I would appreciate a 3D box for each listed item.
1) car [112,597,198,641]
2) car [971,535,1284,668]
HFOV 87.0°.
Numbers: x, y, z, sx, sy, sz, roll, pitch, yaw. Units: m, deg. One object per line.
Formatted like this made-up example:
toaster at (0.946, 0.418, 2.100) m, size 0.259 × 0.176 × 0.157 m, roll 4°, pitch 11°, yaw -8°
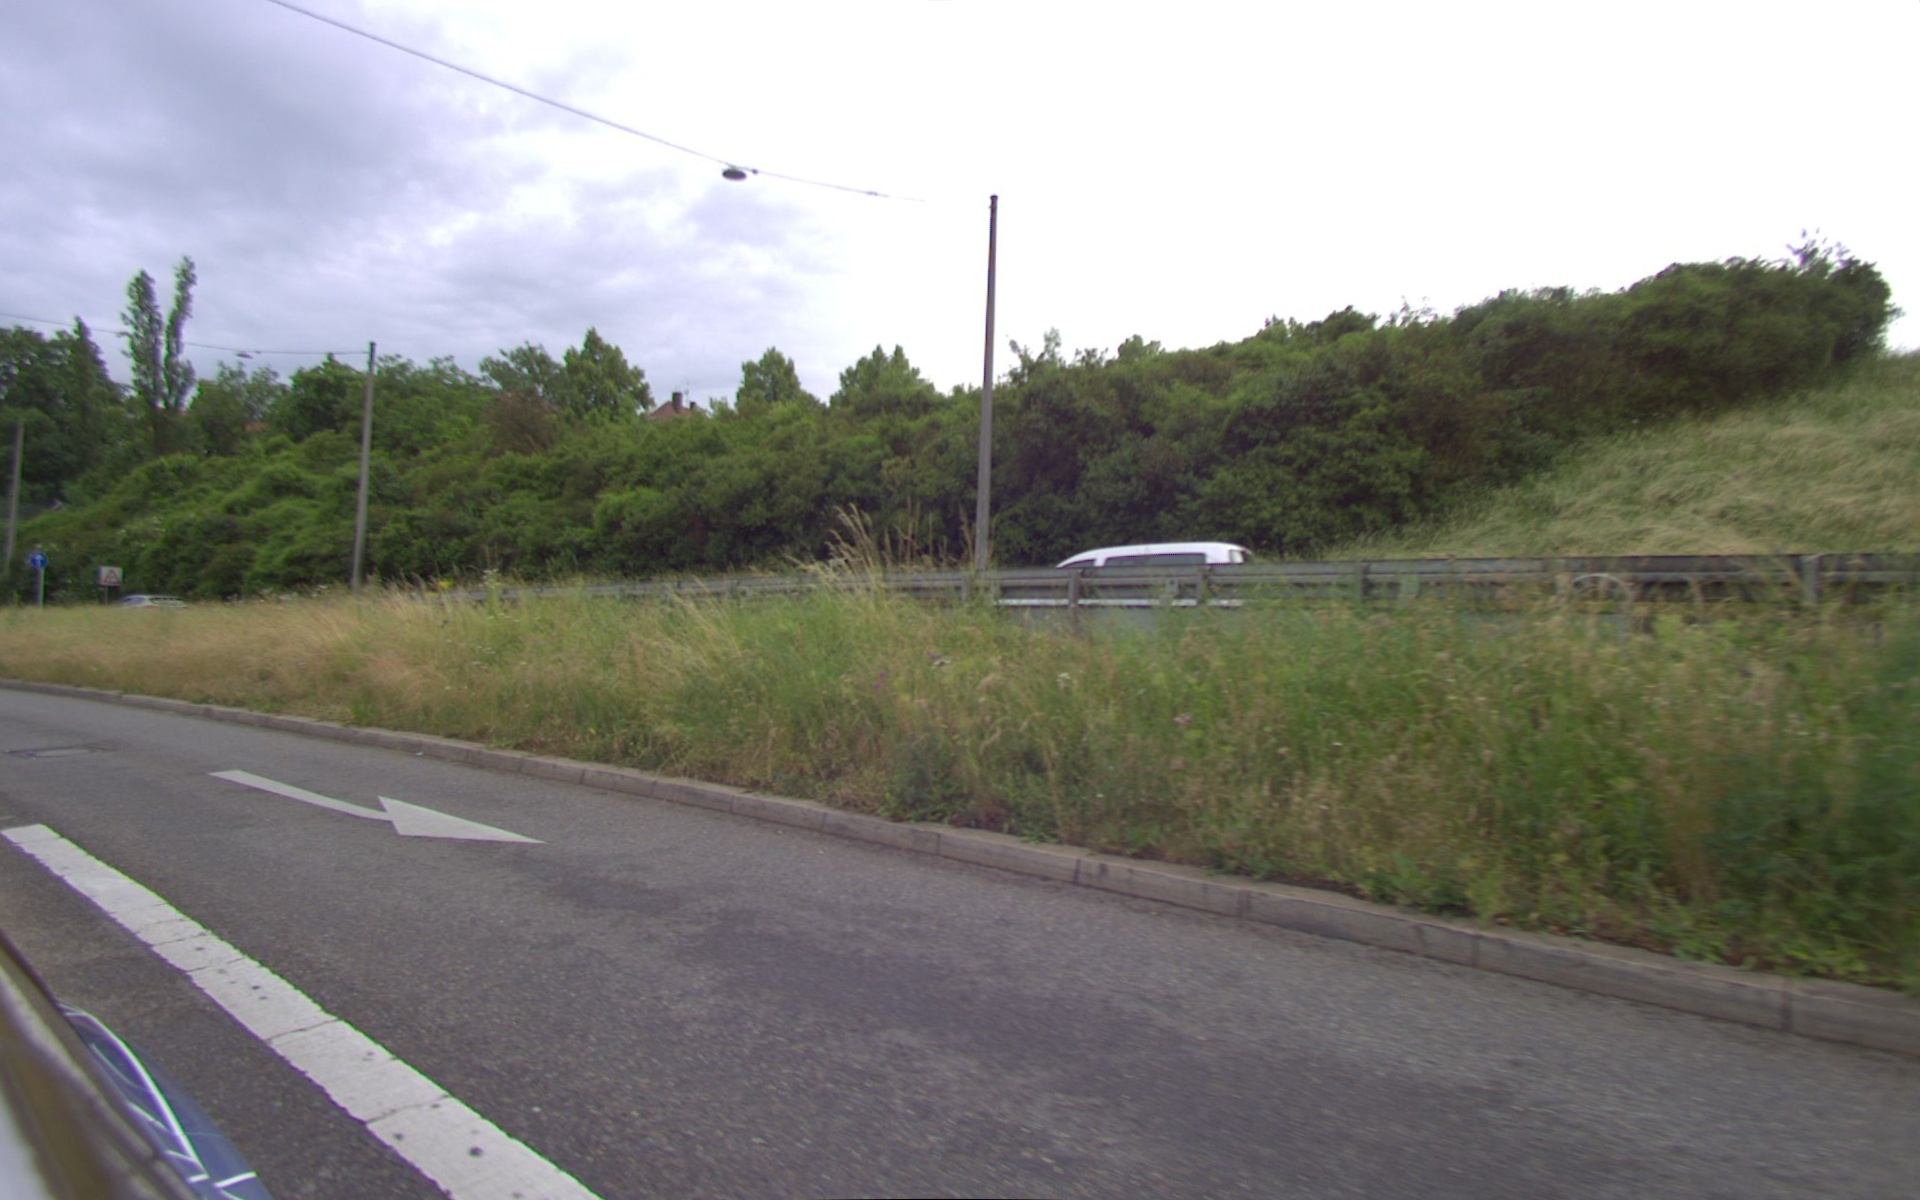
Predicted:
car at (-34.452, 0.847, 43.293) m, size 3.670 × 1.528 × 1.721 m, roll -1°, pitch -13°, yaw 37°
car at (2.592, 0.020, 16.305) m, size 4.692 × 1.864 × 1.798 m, roll 1°, pitch -1°, yaw 38°
